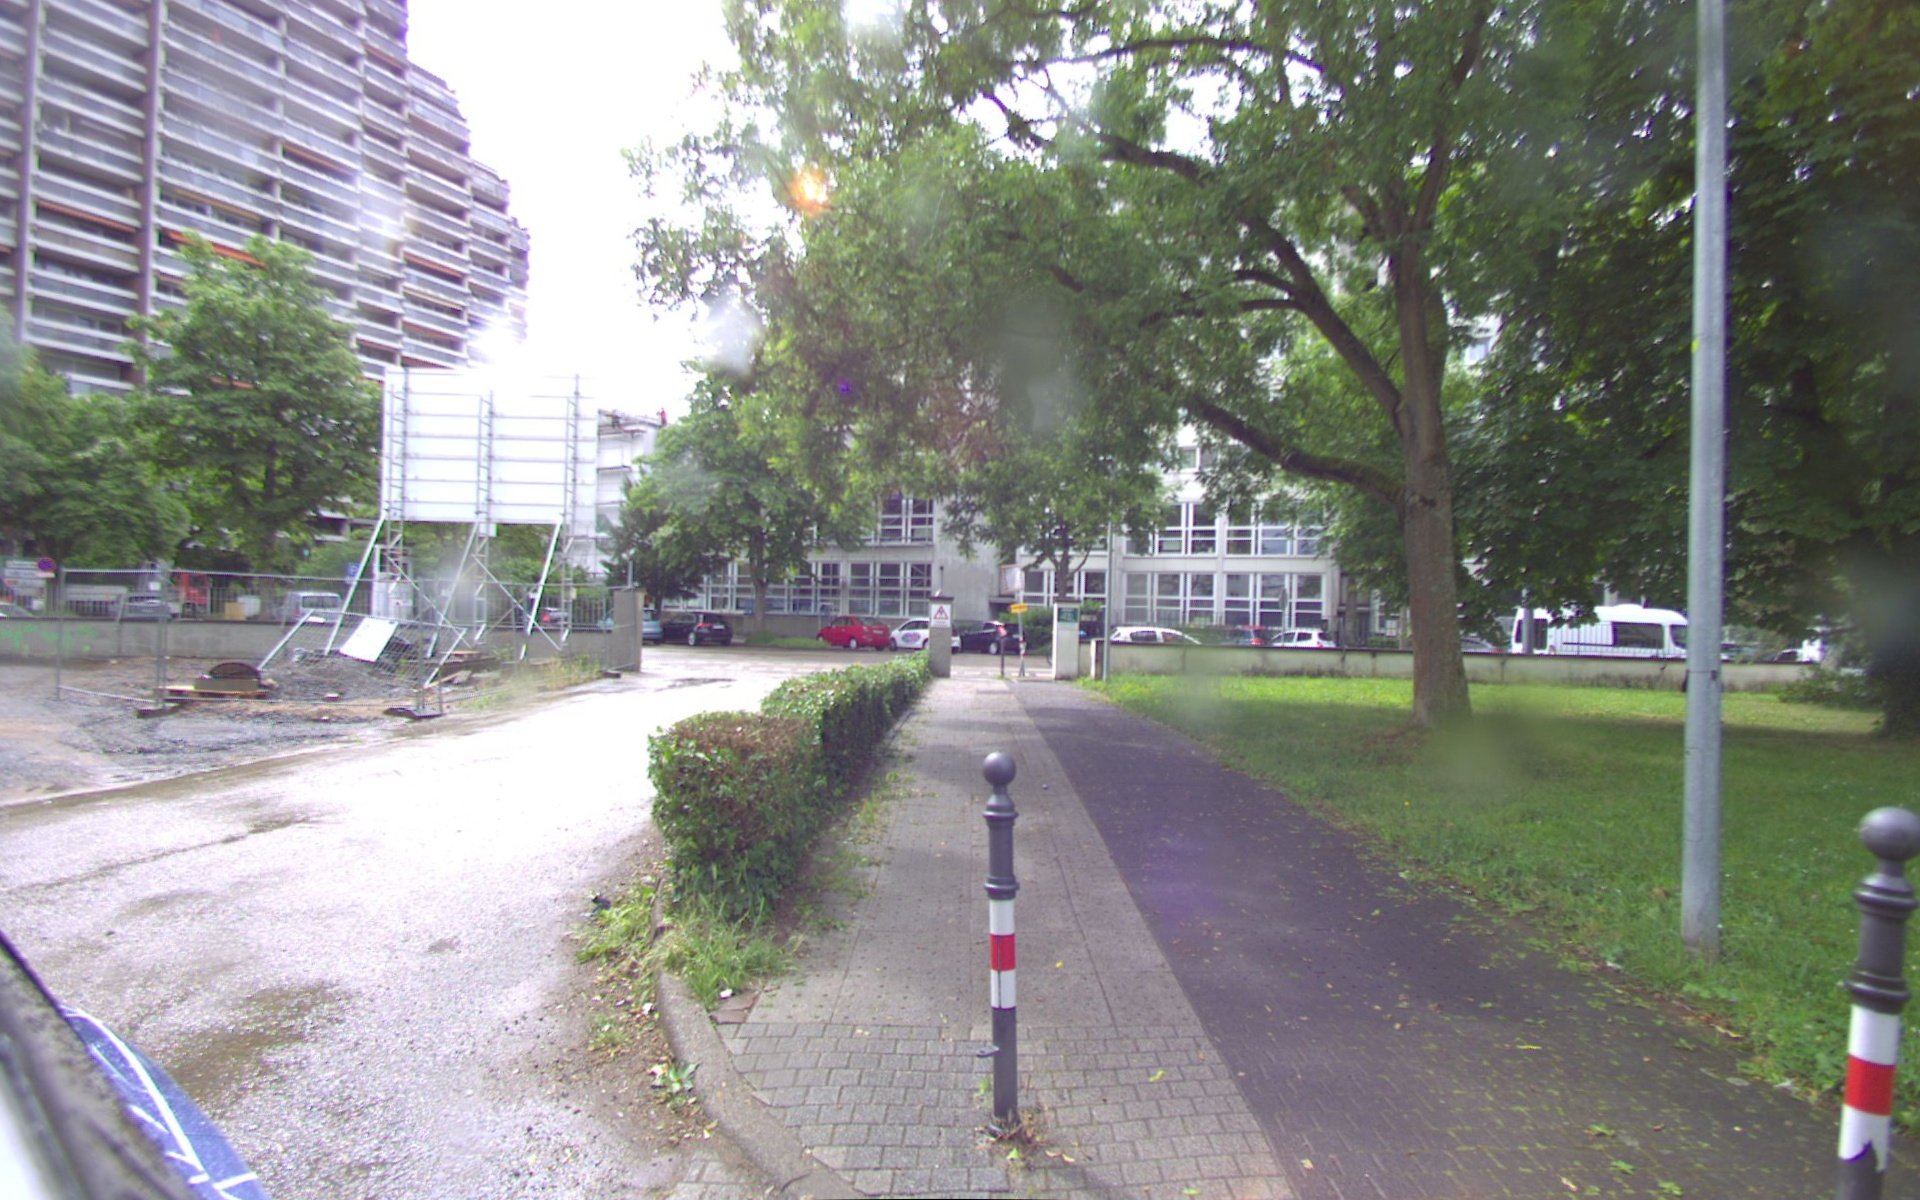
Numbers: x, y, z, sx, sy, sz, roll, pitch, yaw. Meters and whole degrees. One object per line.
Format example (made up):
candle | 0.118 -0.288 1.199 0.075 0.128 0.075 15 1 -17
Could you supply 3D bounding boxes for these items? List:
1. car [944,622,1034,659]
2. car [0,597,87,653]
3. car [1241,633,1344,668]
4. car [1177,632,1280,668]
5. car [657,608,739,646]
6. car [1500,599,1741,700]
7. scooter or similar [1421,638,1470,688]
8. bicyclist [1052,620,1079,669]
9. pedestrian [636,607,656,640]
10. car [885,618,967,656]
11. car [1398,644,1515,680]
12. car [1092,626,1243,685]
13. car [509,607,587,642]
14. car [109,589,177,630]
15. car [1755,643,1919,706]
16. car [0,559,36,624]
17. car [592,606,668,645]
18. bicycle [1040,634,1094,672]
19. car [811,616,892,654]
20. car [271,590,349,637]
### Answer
car | 1.224 1.738 44.050 1.787 1.492 3.986 3 -3 -38
car | -26.930 0.691 27.962 3.944 1.482 1.890 1 -3 1
car | 14.464 2.189 44.147 3.883 1.465 1.752 -2 -4 45
car | 11.502 2.127 43.481 3.883 1.465 1.796 -2 -4 45
car | -11.208 1.147 43.191 1.716 1.480 3.652 3 -1 -45
car | 18.112 1.374 27.959 5.199 2.529 2.140 2 -3 0
scooter or similar | 13.355 1.733 27.855 0.419 1.286 1.152 4 -2 -26
bicyclist | 3.572 1.498 34.296 0.662 1.630 0.647 2 -3 -33
pedestrian | -16.606 1.253 53.569 0.696 1.756 0.840 3 -4 -41
car | -1.496 1.574 43.449 1.684 1.463 3.412 2 -1 -42
car | 21.441 2.647 43.831 1.787 1.464 4.209 3 -4 -44
car | 5.704 1.537 28.129 3.779 1.471 1.690 2 -3 0
car | -17.840 1.067 43.802 3.650 1.408 1.744 1 -1 43
car | -35.542 0.386 43.999 4.048 1.577 1.759 3 0 44
car | 24.367 2.044 27.926 3.324 1.562 1.913 2 -3 2
car | -42.701 -0.434 43.065 5.430 2.653 2.292 2 -2 14
car | -14.180 1.089 43.401 1.683 1.563 3.653 3 -1 -44
bicycle | 3.644 1.799 34.335 1.837 1.276 0.647 2 -3 -33
car | -4.742 1.524 43.962 1.716 1.480 3.410 5 -3 -45
car | -28.038 0.561 43.586 1.909 1.911 4.649 3 -2 -43
